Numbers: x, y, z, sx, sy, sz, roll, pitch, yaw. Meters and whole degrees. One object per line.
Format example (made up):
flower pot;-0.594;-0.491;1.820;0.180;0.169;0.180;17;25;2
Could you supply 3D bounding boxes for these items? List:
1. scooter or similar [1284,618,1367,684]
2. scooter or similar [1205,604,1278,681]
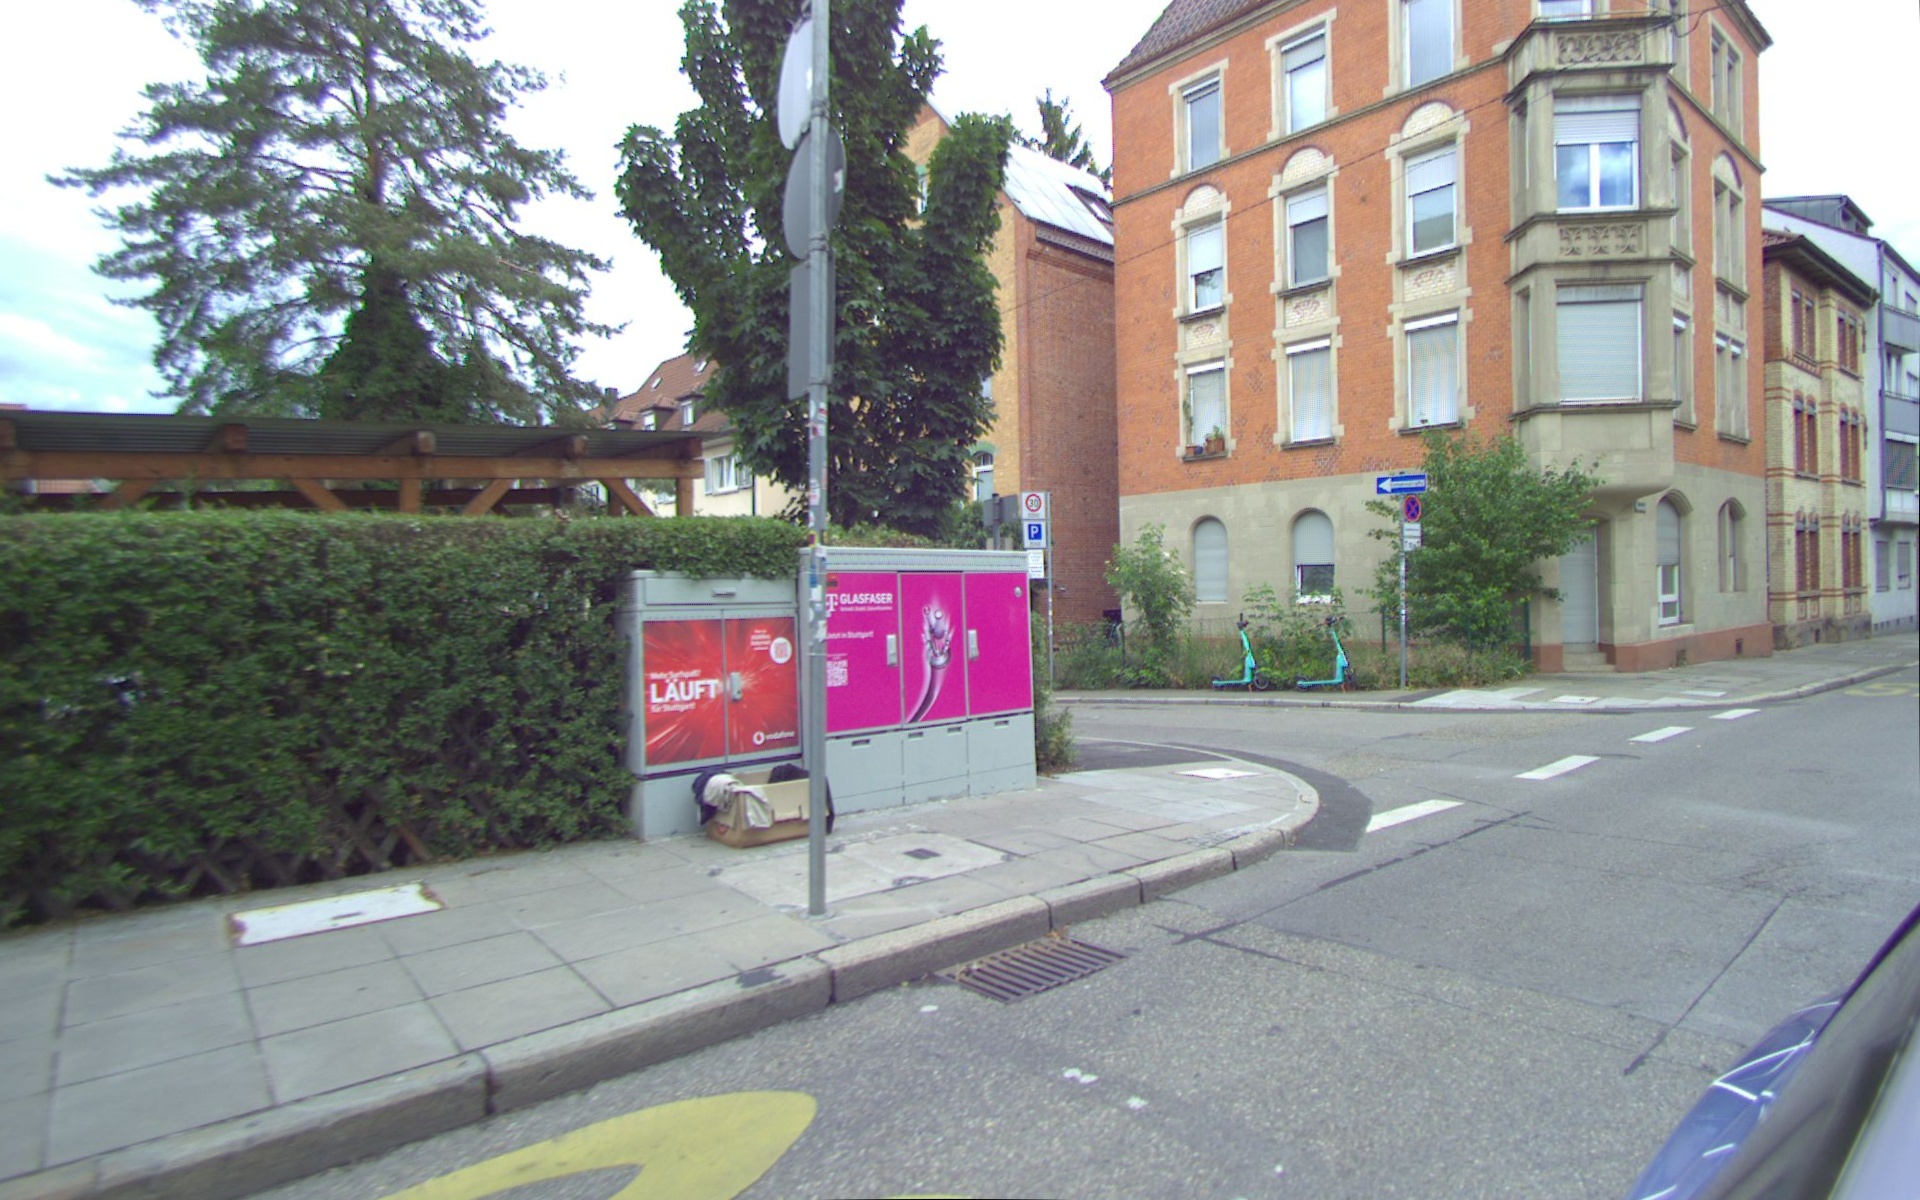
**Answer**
scooter or similar;6.066;0.839;16.834;0.408;1.029;1.236;-2;-1;-40
scooter or similar;5.000;0.766;18.016;0.408;1.287;1.087;-4;-2;-40
